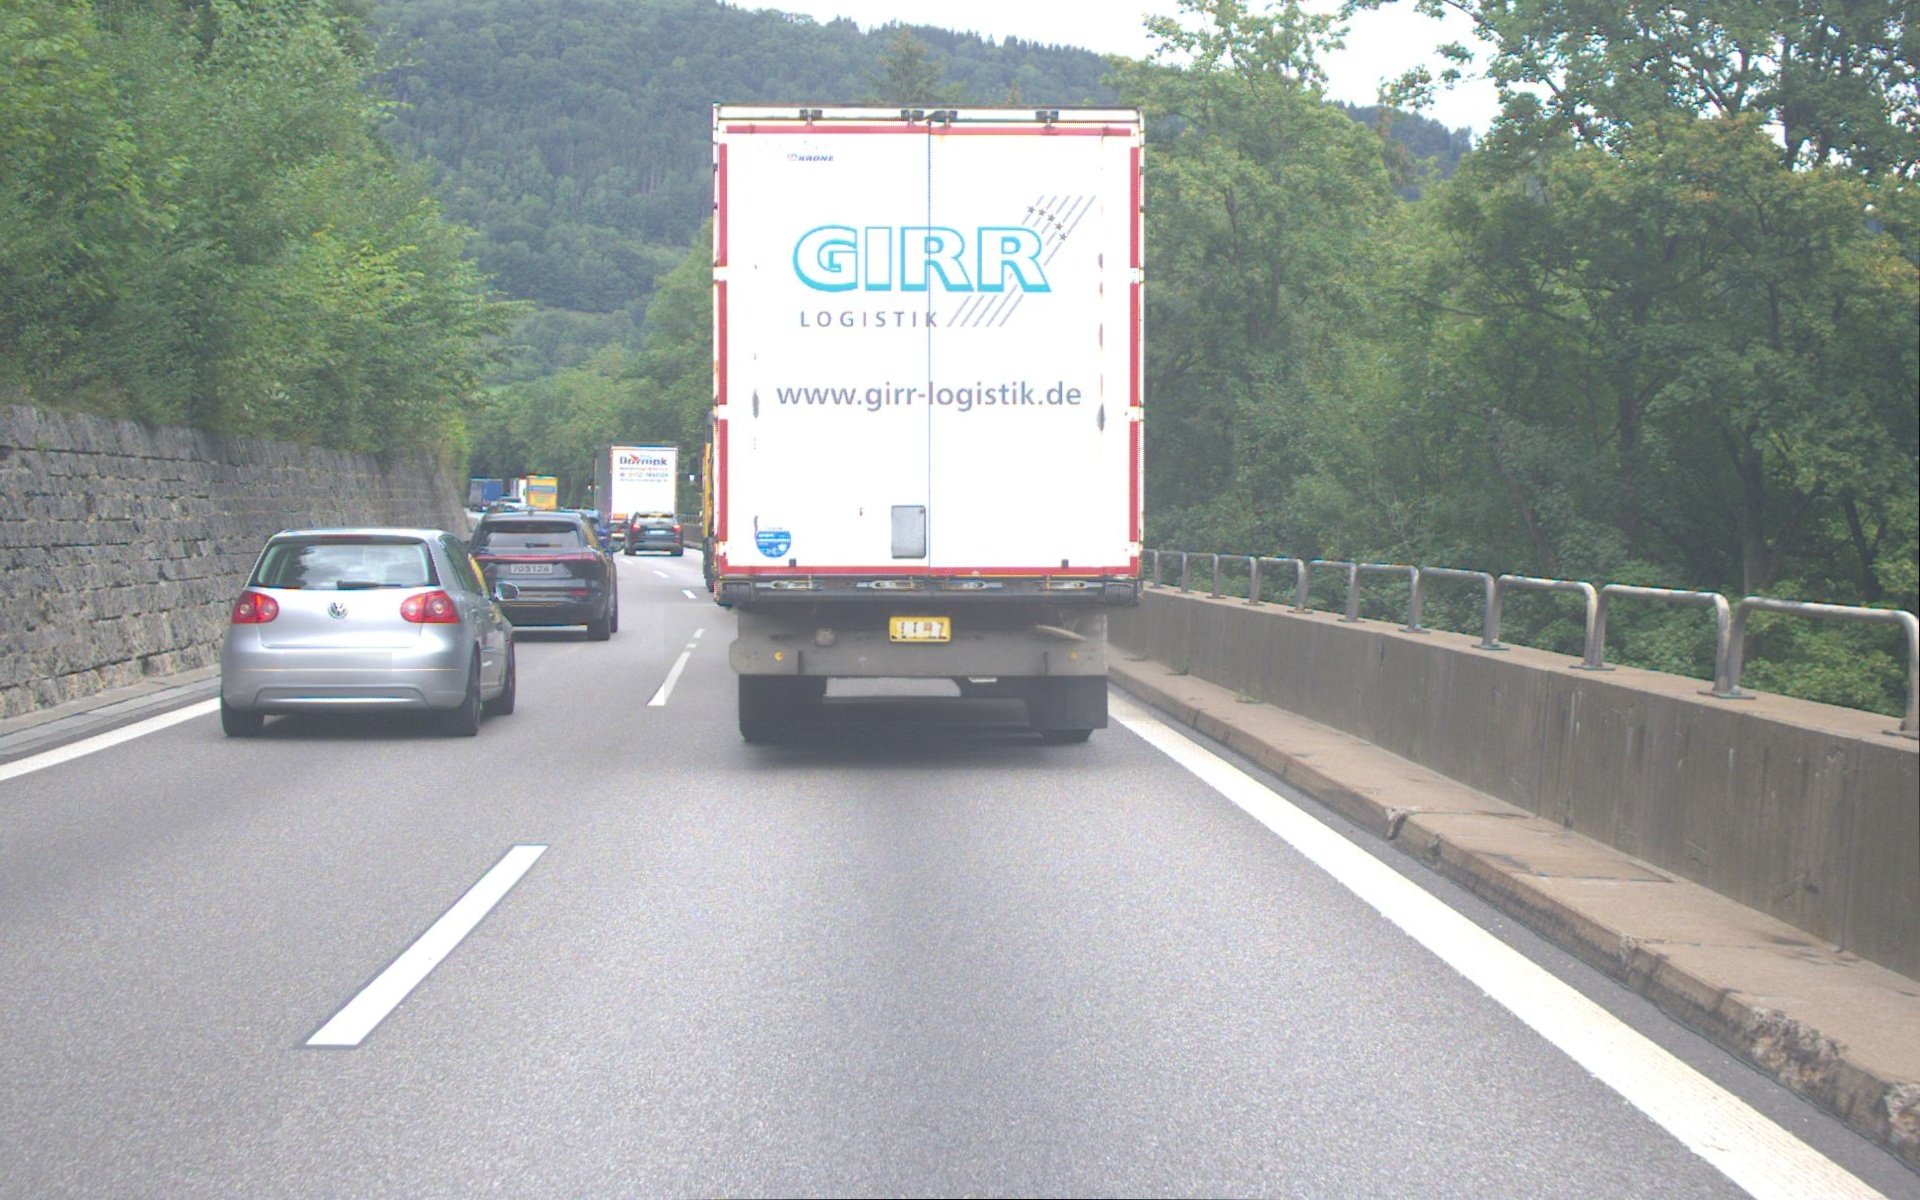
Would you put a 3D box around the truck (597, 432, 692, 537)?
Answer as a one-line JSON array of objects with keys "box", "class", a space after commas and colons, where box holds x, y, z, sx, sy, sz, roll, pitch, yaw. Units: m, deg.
[{"box": [-12.485, -4.479, 135.630, 3.510, 3.834, 11.779, 1, 1, -6], "class": "truck"}]

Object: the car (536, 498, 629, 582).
[{"box": [-8.606, -1.386, 78.629, 1.993, 1.842, 4.001, 1, 1, -5], "class": "car"}]

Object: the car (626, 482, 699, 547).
[{"box": [-9.647, -2.757, 111.570, 1.993, 2.007, 4.000, 1, 1, 0], "class": "car"}]

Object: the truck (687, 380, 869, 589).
[{"box": [-3.482, -2.070, 63.535, 2.485, 3.559, 9.311, 0, 1, -8], "class": "truck"}]

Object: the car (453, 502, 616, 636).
[{"box": [-5.288, -0.415, 43.136, 1.916, 1.589, 4.180, 0, 1, -6], "class": "car"}]

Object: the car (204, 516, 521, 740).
[{"box": [-4.239, 0.143, 24.925, 1.729, 1.481, 4.001, 0, 1, -2], "class": "car"}]

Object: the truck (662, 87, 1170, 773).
[{"box": [-0.417, -1.096, 24.590, 2.908, 3.947, 9.280, 1, 1, -2], "class": "truck"}]
